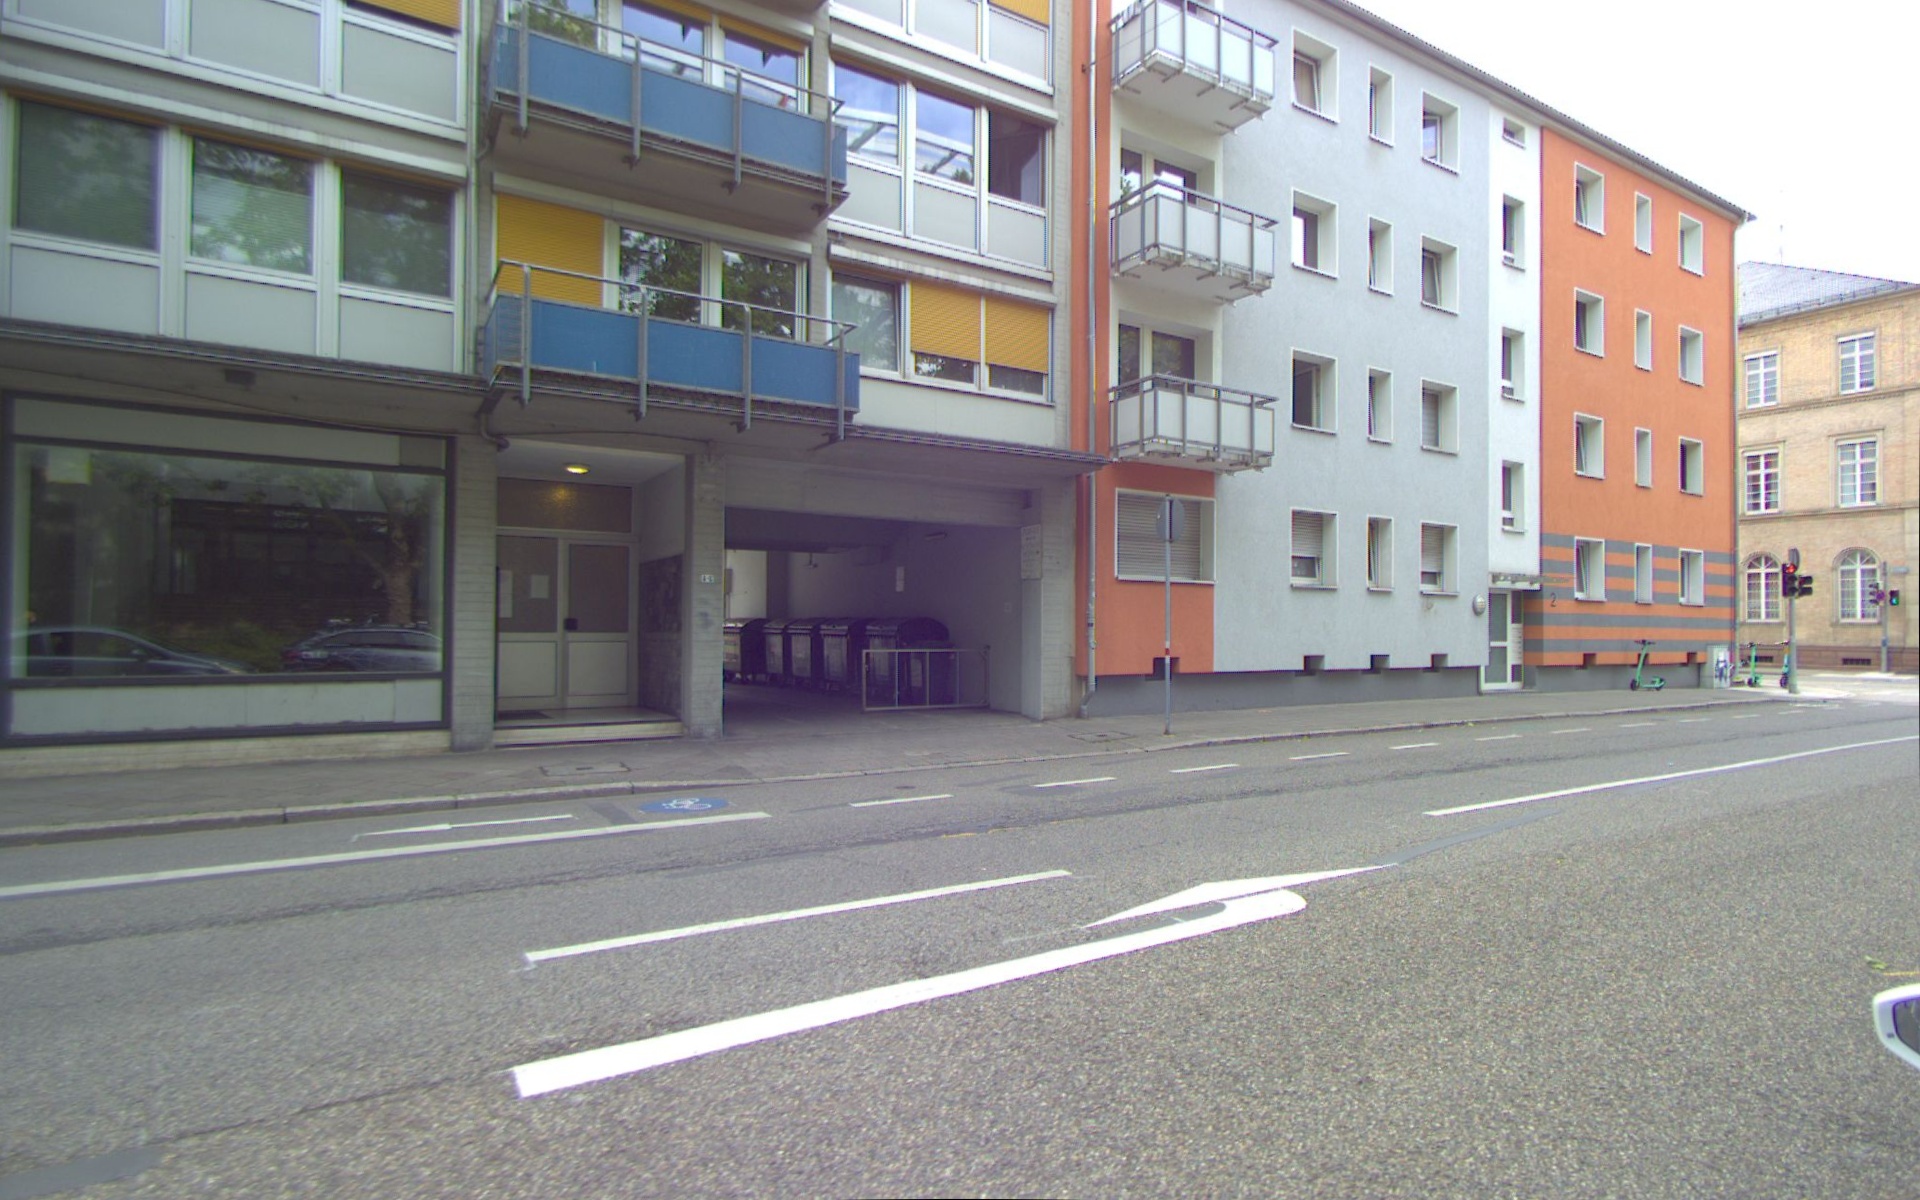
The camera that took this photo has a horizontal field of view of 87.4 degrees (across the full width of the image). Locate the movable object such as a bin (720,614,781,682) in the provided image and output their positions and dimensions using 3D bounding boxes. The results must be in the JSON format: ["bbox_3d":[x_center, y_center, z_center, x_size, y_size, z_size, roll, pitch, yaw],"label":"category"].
[{"bbox_3d":[-4.734,1.057,22.677,1.041,1.483,1.184,1,-1,-30],"label":"movable object such as a bin"}]

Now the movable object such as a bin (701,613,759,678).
[{"bbox_3d":[-5.457,1.062,23.791,1.041,1.483,1.184,1,-1,-30],"label":"movable object such as a bin"}]

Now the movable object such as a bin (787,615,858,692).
[{"bbox_3d":[-2.763,1.052,20.160,1.041,1.483,1.184,1,-1,-30],"label":"movable object such as a bin"}]

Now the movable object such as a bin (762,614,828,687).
[{"bbox_3d":[-3.524,1.059,21.461,1.041,1.483,1.184,1,-1,-30],"label":"movable object such as a bin"}]

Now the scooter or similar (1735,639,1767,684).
[{"bbox_3d":[21.262,1.652,26.991,1.130,1.162,0.375,3,-2,-35],"label":"scooter or similar"}]

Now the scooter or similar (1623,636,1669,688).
[{"bbox_3d":[16.123,1.459,23.611,1.374,1.199,0.376,3,-2,-32],"label":"scooter or similar"}]

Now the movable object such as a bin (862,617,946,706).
[{"bbox_3d":[-0.991,1.040,17.490,1.041,1.483,1.184,1,-1,-30],"label":"movable object such as a bin"}]

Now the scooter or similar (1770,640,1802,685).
[{"bbox_3d":[22.015,1.665,26.767,1.130,1.159,0.375,3,-2,-35],"label":"scooter or similar"}]

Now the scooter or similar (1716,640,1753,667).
[{"bbox_3d":[31.075,2.135,40.311,0.375,1.063,1.132,3,-2,-31],"label":"scooter or similar"}]

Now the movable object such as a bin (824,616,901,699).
[{"bbox_3d":[-1.830,1.045,18.749,1.041,1.483,1.184,1,-1,-30],"label":"movable object such as a bin"}]

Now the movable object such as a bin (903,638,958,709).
[{"bbox_3d":[-0.495,1.207,16.684,0.701,1.140,0.639,1,-1,-30],"label":"movable object such as a bin"}]
